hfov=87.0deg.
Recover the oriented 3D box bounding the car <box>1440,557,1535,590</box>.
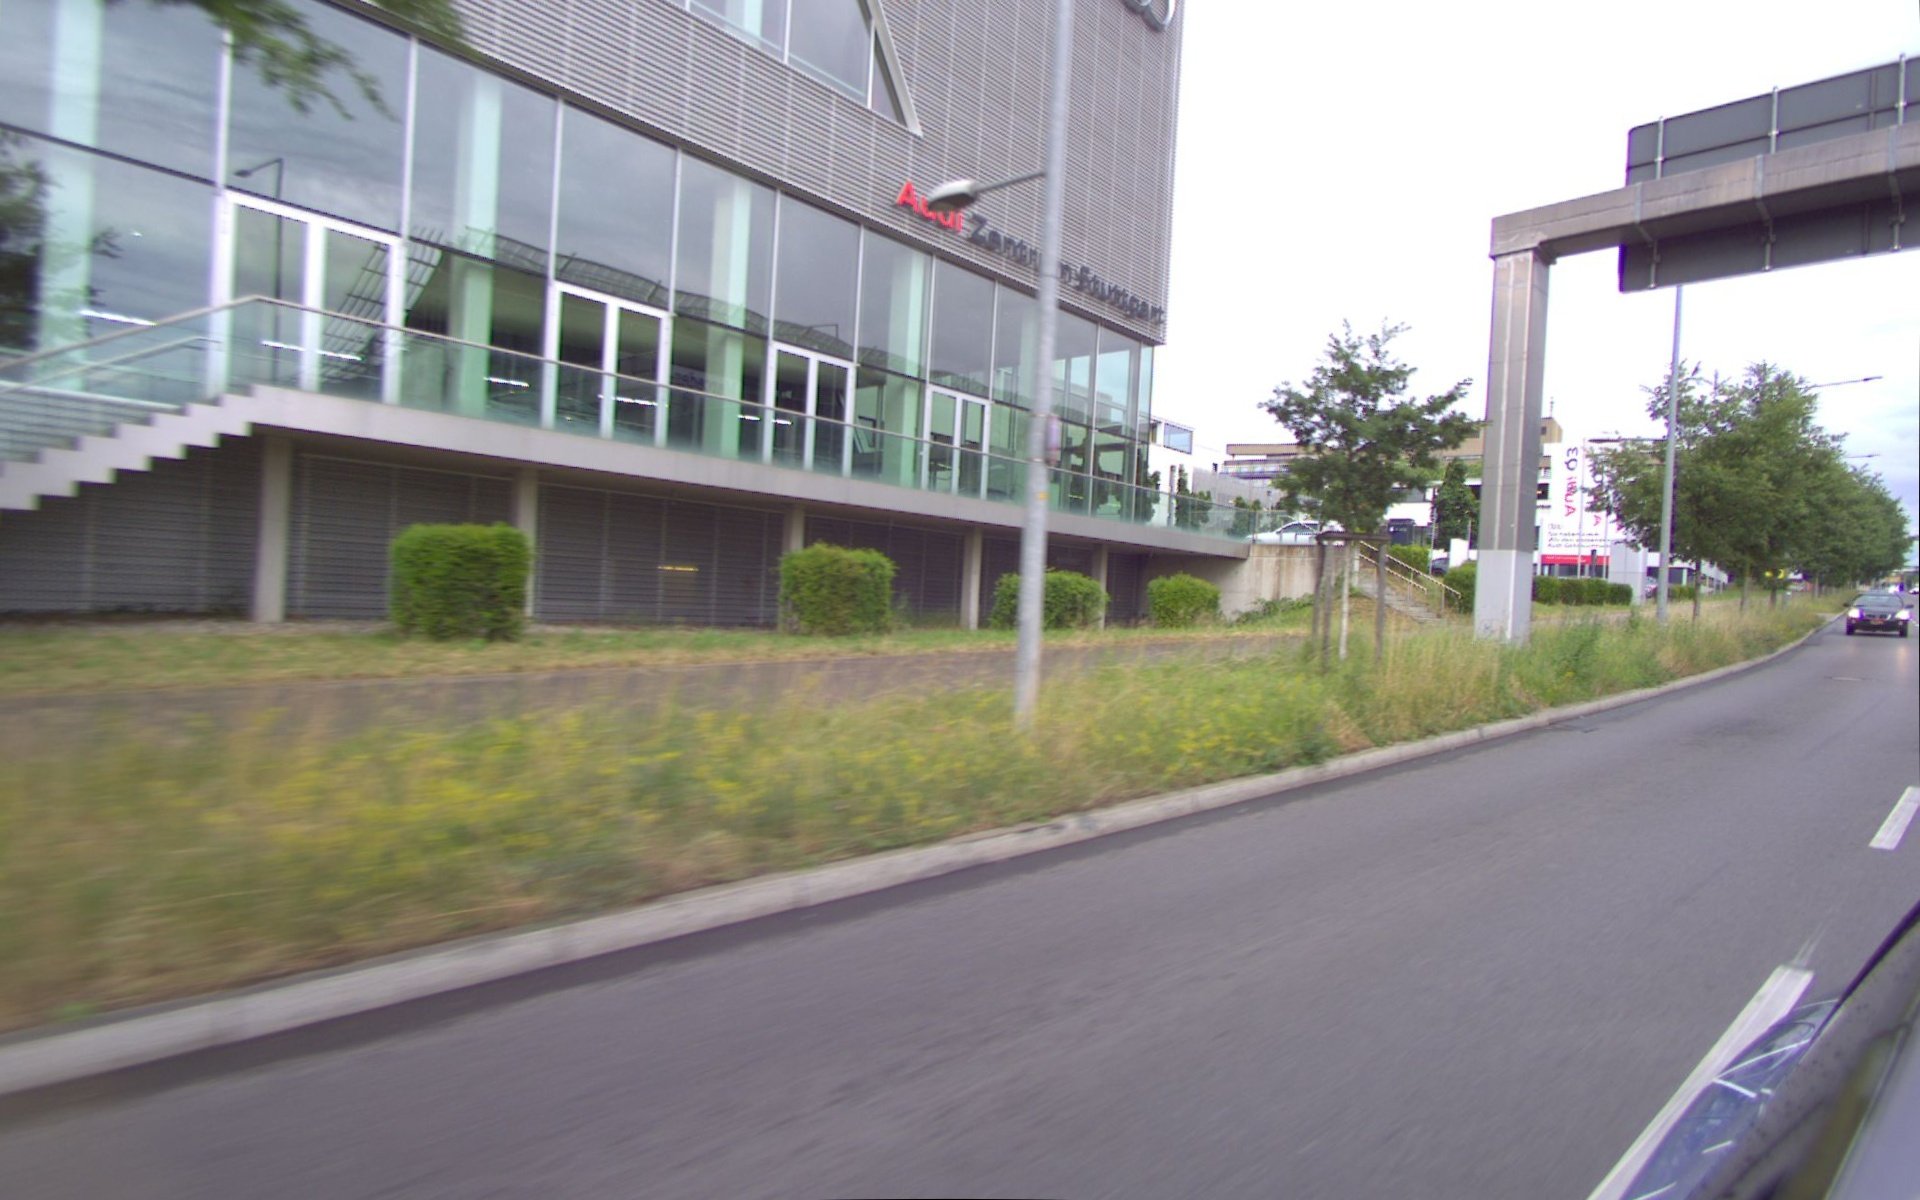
[{"bbox_3d":[27.522,-1.379,52.900,4.104,1.629,1.666,2,1,43],"label":"car"}]

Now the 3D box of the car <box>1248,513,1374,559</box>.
[{"bbox_3d":[13.377,-2.401,38.752,4.258,1.594,1.666,2,1,43],"label":"car"}]

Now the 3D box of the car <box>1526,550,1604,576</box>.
[{"bbox_3d":[38.083,-2.331,63.748,4.093,1.613,1.924,2,3,36],"label":"car"}]

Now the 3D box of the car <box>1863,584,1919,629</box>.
[{"bbox_3d":[35.909,0.244,38.572,4.044,1.629,1.826,1,0,-43],"label":"car"}]

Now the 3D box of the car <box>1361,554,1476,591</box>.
[{"bbox_3d":[20.706,-1.256,45.822,4.419,1.594,1.666,2,1,43],"label":"car"}]

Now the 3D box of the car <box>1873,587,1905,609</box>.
[{"bbox_3d":[80.281,-0.145,87.418,4.046,1.833,1.857,1,0,-45],"label":"car"}]
